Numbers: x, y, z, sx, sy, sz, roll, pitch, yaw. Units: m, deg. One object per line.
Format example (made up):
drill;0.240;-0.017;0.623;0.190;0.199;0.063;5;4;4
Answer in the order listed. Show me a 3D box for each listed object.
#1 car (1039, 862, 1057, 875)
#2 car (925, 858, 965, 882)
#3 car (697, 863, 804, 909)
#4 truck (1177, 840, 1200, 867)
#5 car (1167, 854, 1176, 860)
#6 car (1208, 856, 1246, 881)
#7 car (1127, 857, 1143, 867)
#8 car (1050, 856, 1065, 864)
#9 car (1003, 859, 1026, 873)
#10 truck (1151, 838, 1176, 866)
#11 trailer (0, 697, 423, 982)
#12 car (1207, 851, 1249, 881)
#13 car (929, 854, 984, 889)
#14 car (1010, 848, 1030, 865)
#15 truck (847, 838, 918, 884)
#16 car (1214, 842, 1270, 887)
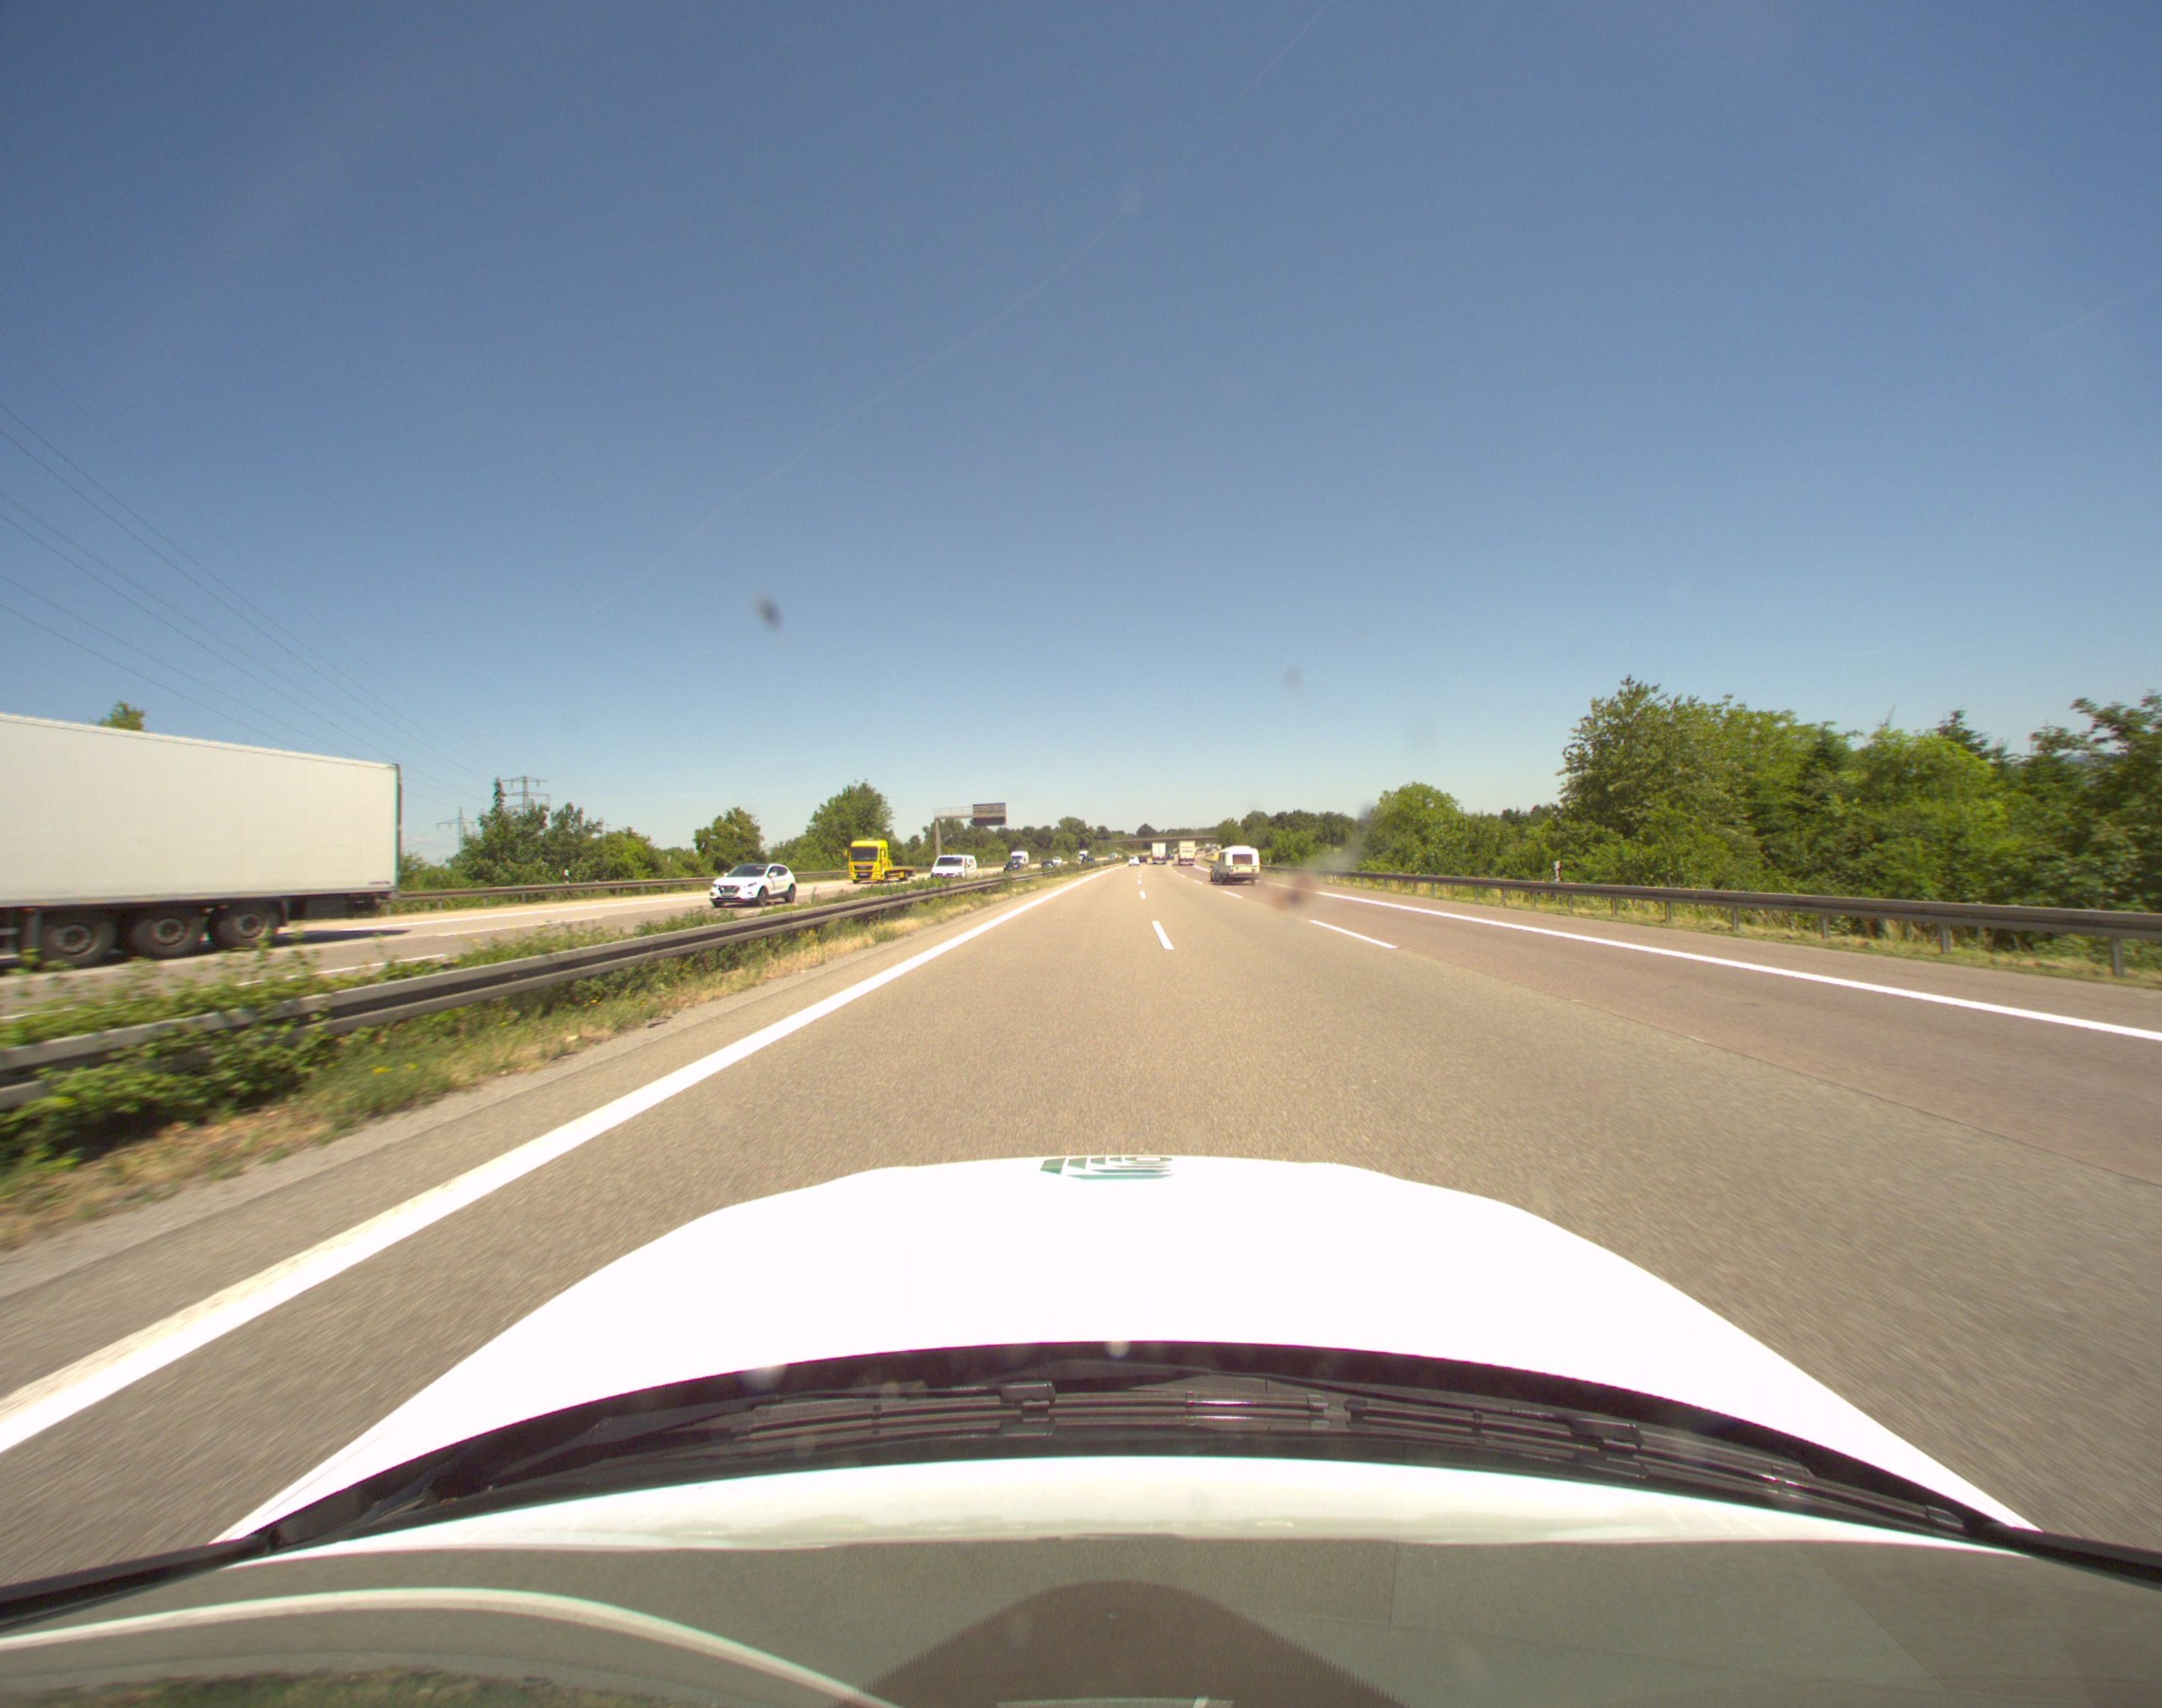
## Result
car;-3.746;1.634;93.571;1.624;1.354;3.832;-1;0;3
car;-10.267;1.170;61.815;1.985;1.736;4.818;-1;0;3
car;-12.495;1.155;31.122;1.986;1.548;4.729;-1;0;2
truck;18.657;-0.182;140.568;3.162;4.304;16.063;-1;1;10
car;23.564;0.749;211.976;1.815;1.547;4.335;0;0;14
car;9.478;0.892;53.182;1.878;1.515;5.387;0;1;5
car;8.821;1.365;132.310;1.815;1.547;4.335;0;0;14
car;-4.666;1.226;162.892;1.979;1.458;4.103;-1;0;14
car;-7.626;1.332;93.616;1.970;1.510;4.239;-1;0;3
truck;15.799;-0.466;154.277;3.644;5.018;16.060;-1;1;9
trailer;-17.541;-0.201;12.843;2.824;4.258;13.644;-1;0;2
car;9.488;0.721;52.923;2.036;1.658;5.517;-2;1;4
car;-7.243;0.965;47.950;1.985;1.882;5.727;-1;0;3
car;-9.064;0.372;121.752;2.121;2.477;6.341;-1;0;4
truck;-14.664;0.514;61.011;2.511;3.152;9.672;-1;0;2
car;9.235;0.542;47.283;2.432;2.321;5.327;-2;1;3
